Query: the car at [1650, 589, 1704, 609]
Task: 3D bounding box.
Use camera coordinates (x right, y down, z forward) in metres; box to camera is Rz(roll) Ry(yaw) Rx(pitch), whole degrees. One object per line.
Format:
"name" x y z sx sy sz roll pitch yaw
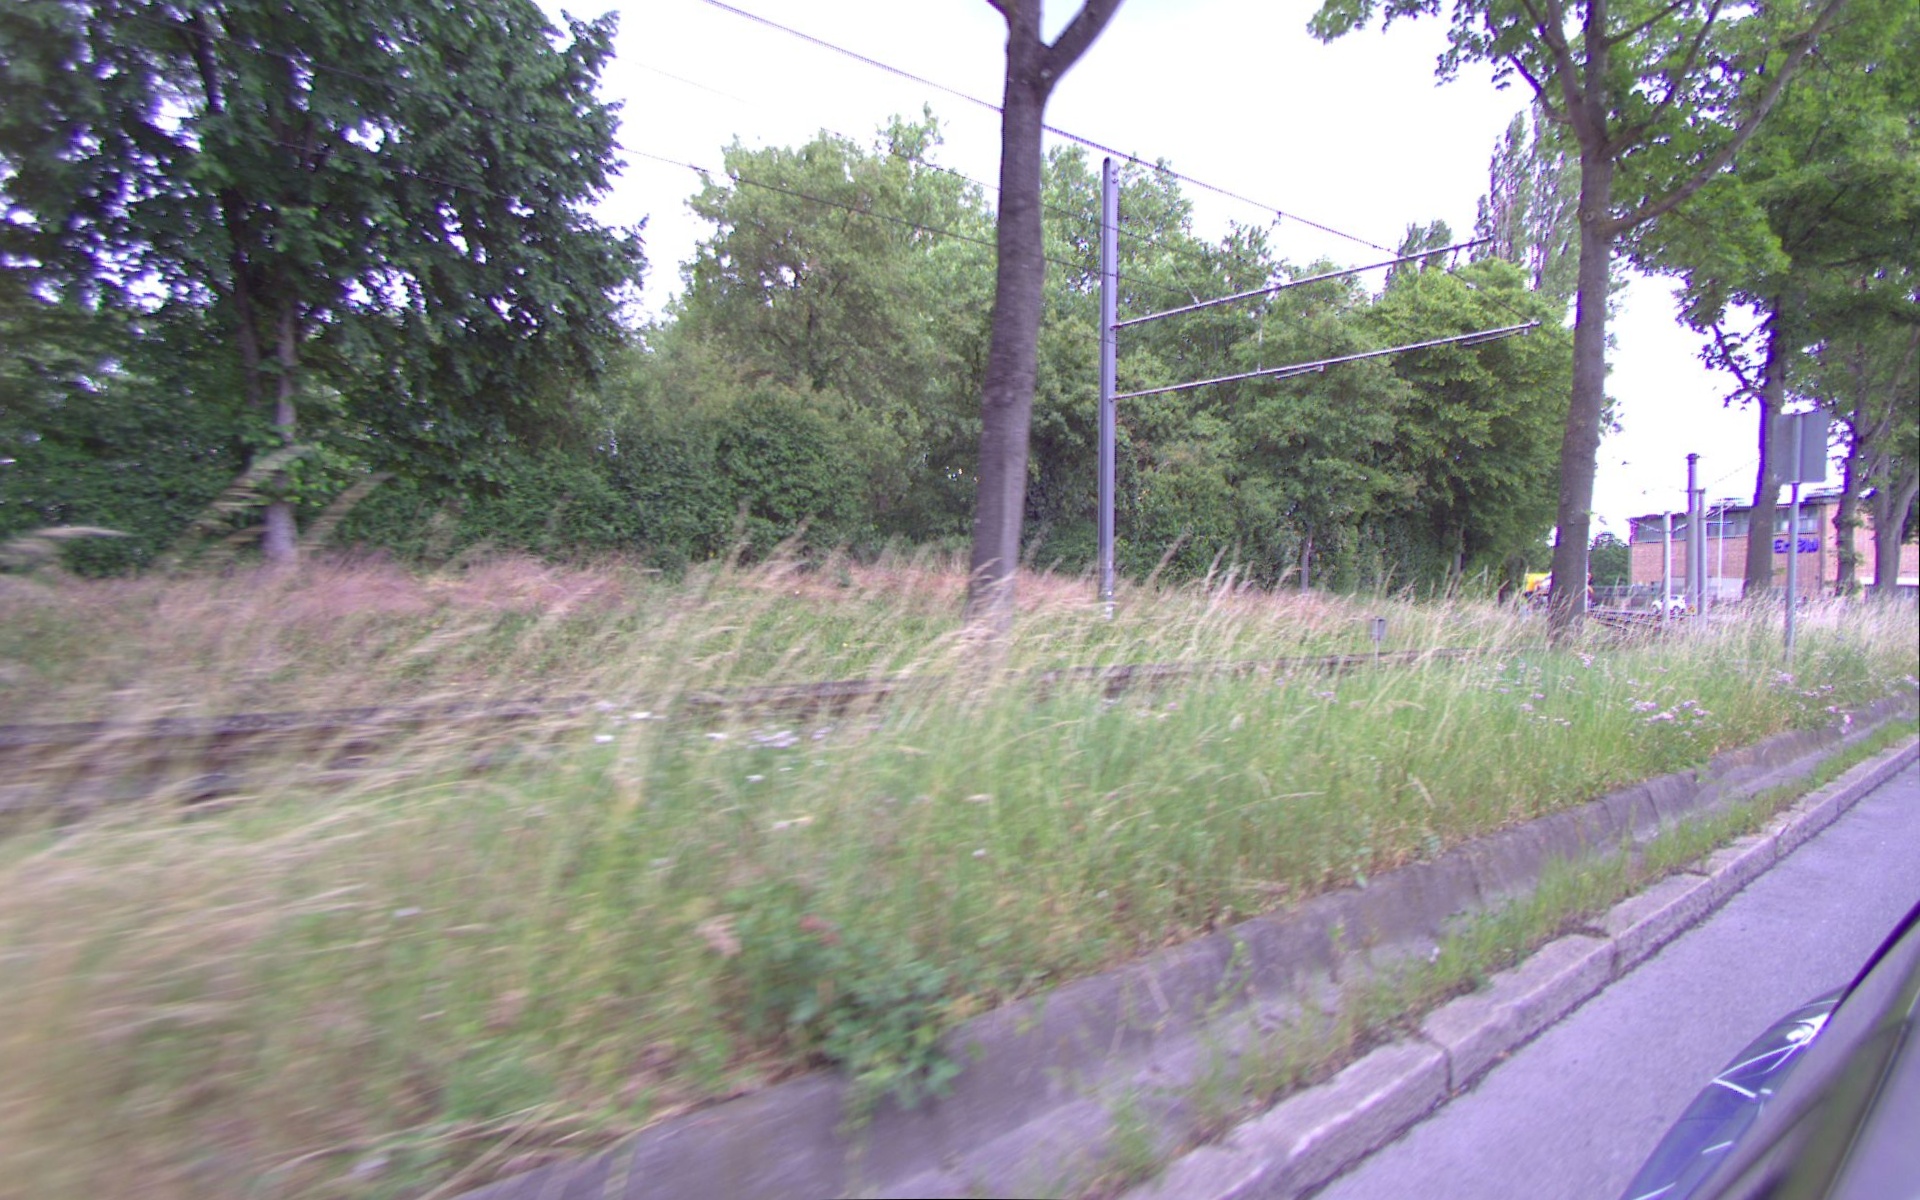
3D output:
"car" 55.944 -0.052 78.995 1.721 1.506 3.650 -1 0 4

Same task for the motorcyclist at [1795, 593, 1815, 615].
"motorcyclist" 54.264 0.244 64.970 0.611 1.373 0.838 0 0 8

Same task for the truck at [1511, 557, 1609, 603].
"truck" 56.295 -1.784 95.422 2.625 3.989 10.142 -2 -1 -3

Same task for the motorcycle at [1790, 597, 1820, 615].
"motorcycle" 54.260 0.381 65.012 0.673 1.074 1.716 0 0 7
